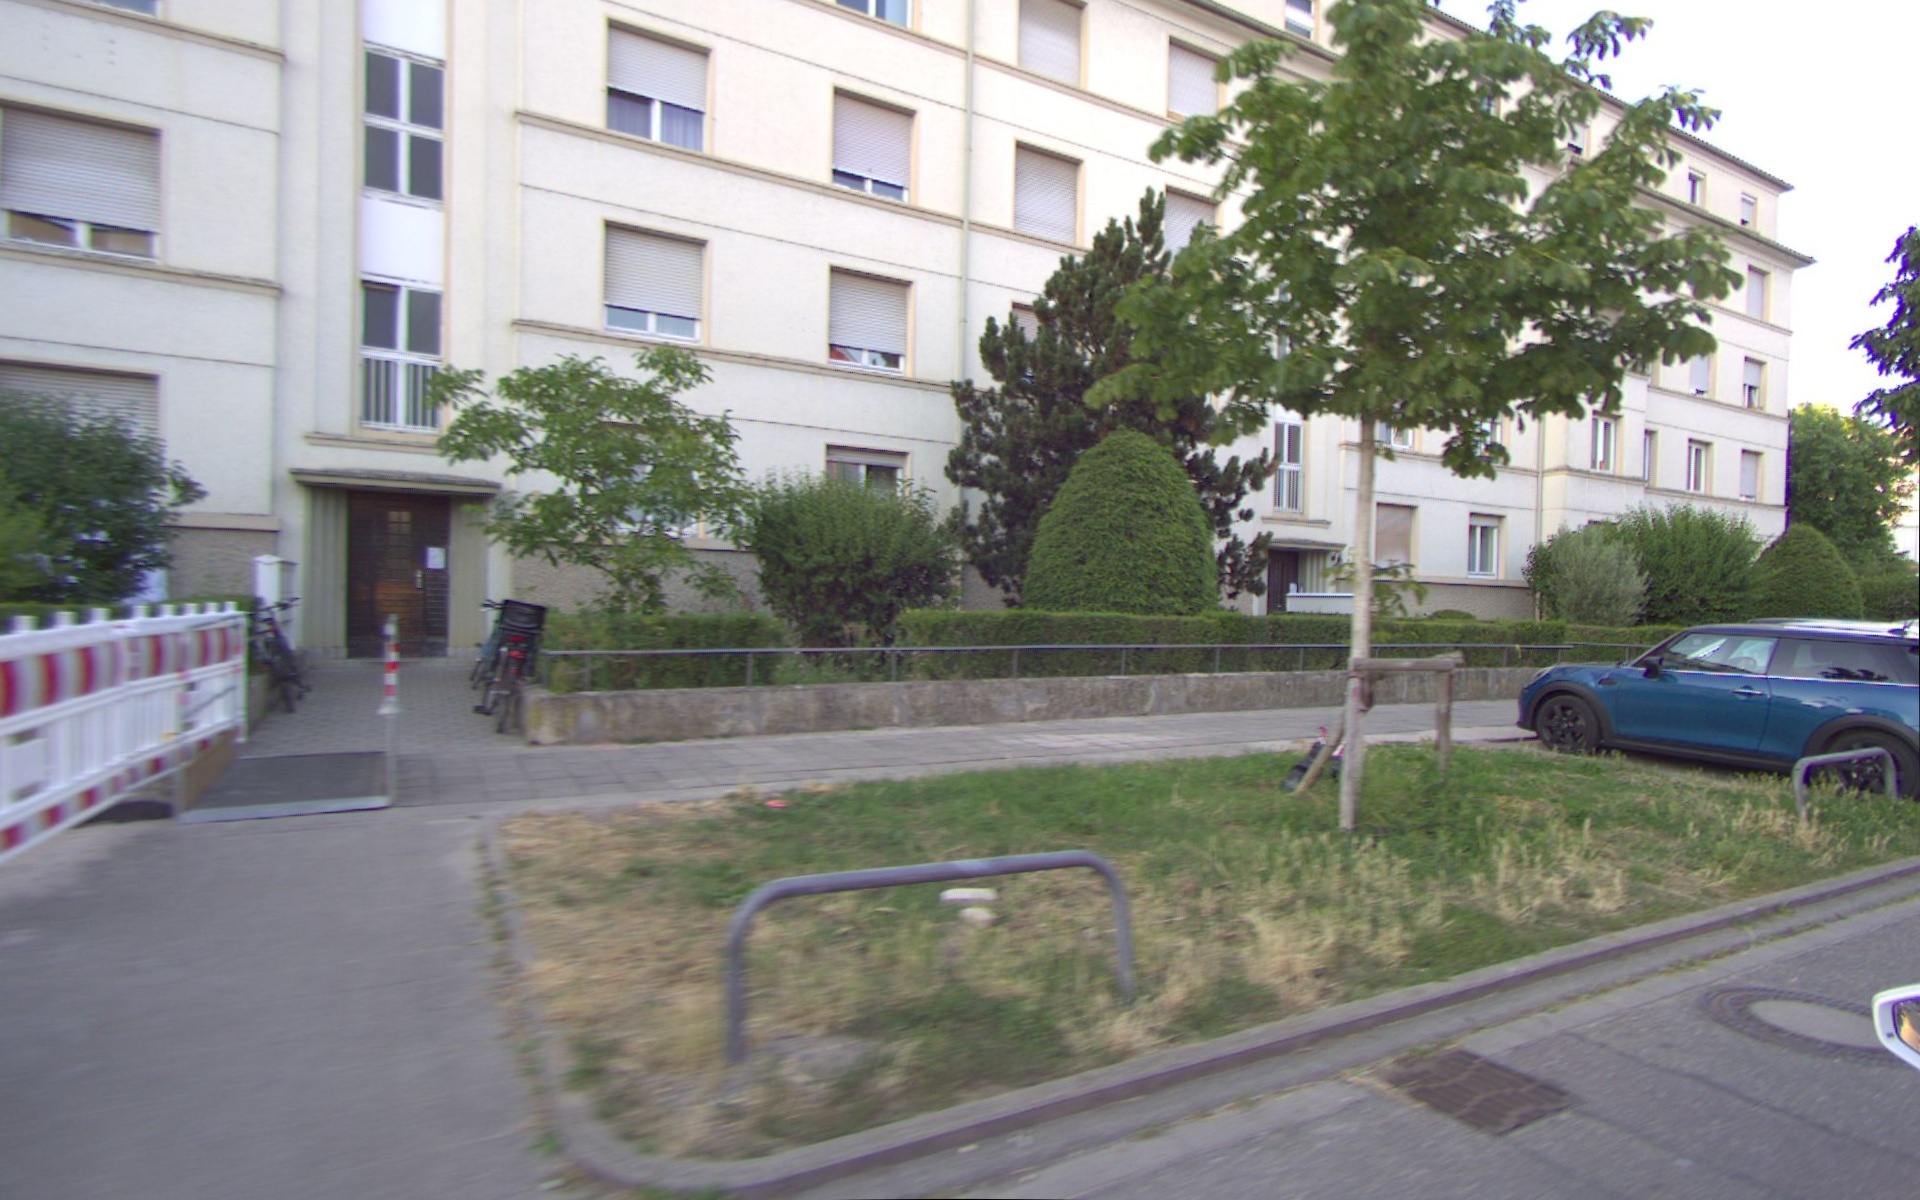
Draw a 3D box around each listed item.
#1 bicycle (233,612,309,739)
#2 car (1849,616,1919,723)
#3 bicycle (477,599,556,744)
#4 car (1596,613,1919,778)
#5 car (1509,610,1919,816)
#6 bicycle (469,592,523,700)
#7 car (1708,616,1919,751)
[{"bbox_3d":[-6.465,0.660,9.477,0.356,1.005,1.912,1,1,-28],"label":"bicycle"},{"bbox_3d":[15.755,1.139,14.907,1.709,1.587,3.455,2,1,-32],"label":"car"},{"bbox_3d":[-4.343,0.629,9.764,0.534,1.202,2.020,1,1,-28],"label":"bicycle"},{"bbox_3d":[9.719,1.009,11.558,1.706,1.504,3.663,2,1,-27],"label":"car"},{"bbox_3d":[7.561,0.936,9.647,1.706,1.464,3.663,2,1,-27],"label":"car"},{"bbox_3d":[-5.855,0.527,12.625,0.484,1.202,2.020,1,1,-28],"label":"bicycle"},{"bbox_3d":[12.095,1.072,12.603,1.706,1.509,3.962,2,1,-27],"label":"car"}]
